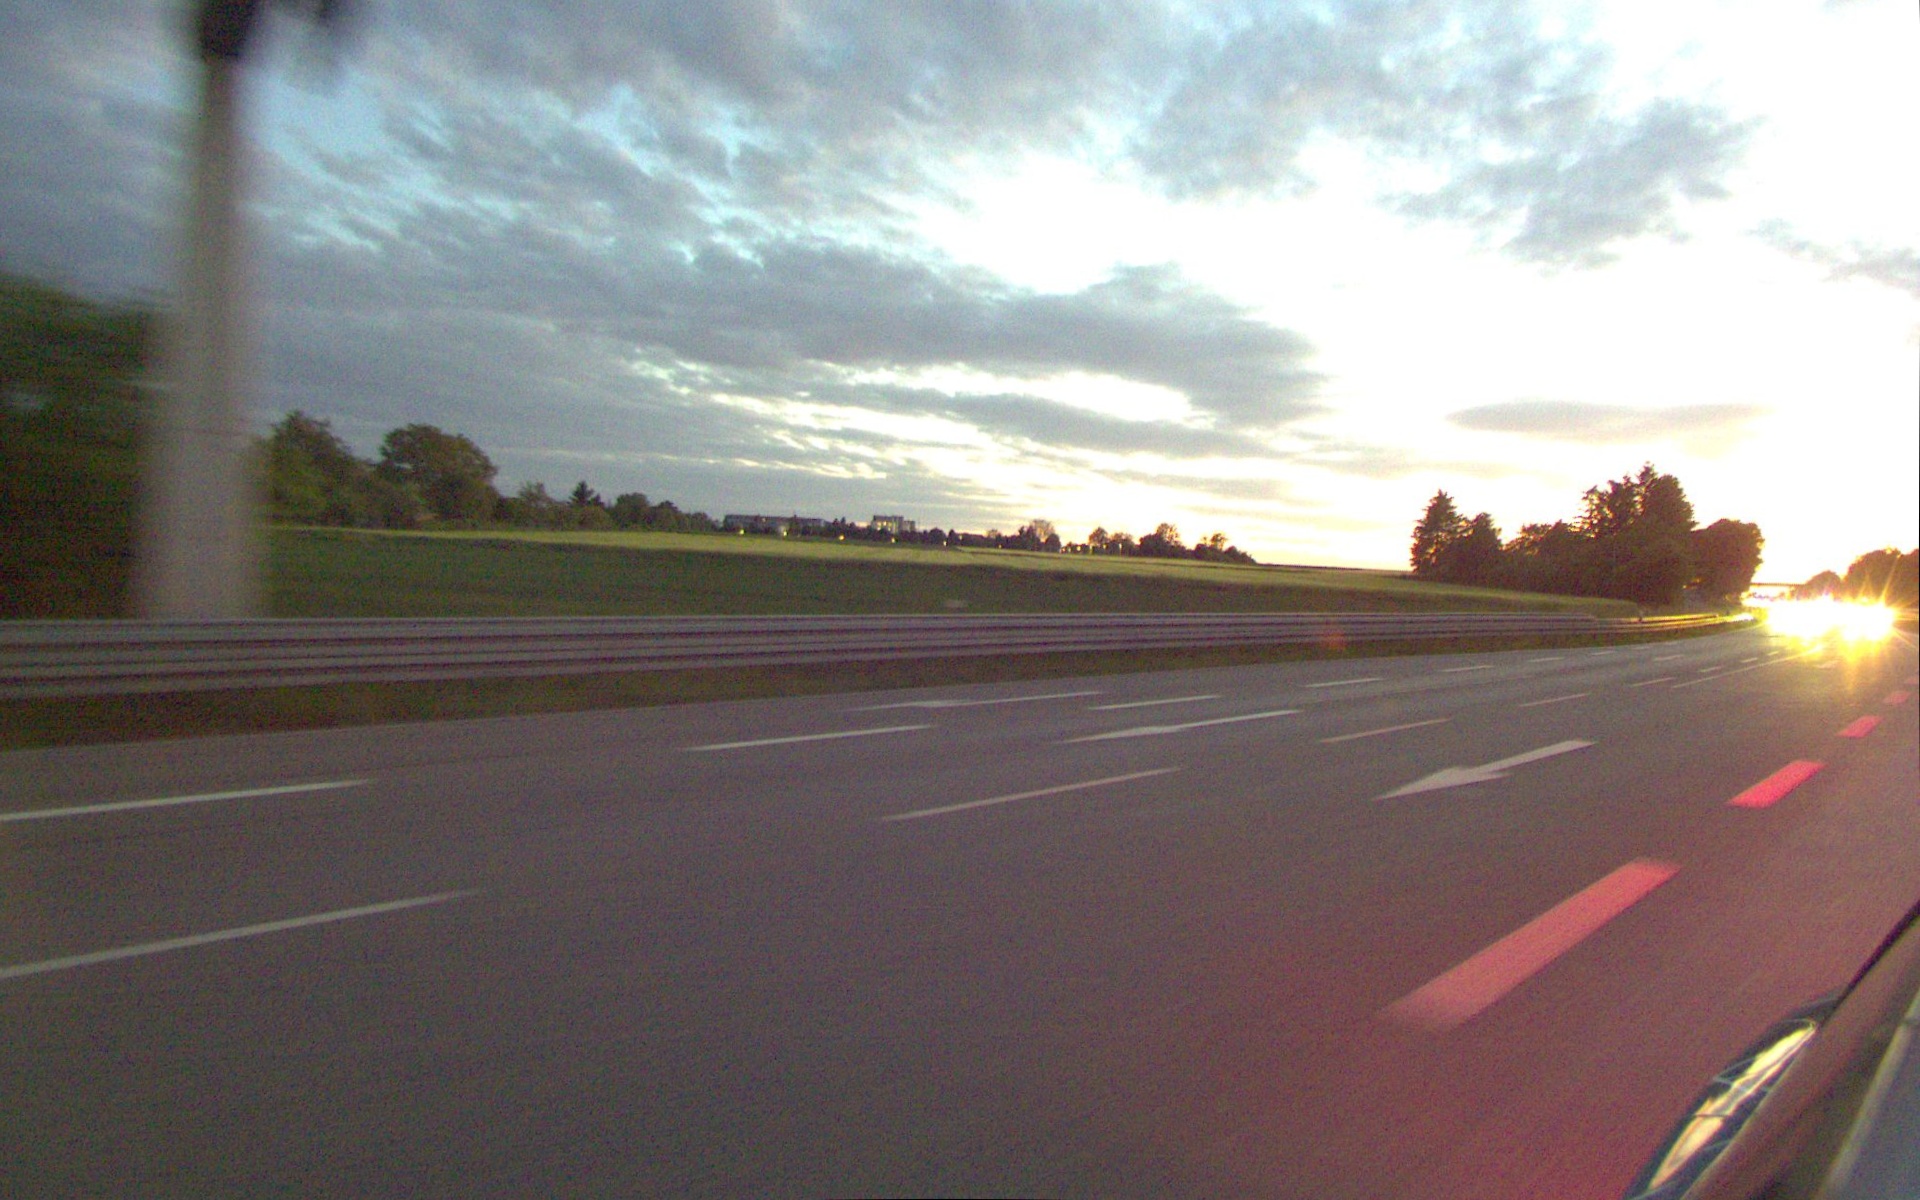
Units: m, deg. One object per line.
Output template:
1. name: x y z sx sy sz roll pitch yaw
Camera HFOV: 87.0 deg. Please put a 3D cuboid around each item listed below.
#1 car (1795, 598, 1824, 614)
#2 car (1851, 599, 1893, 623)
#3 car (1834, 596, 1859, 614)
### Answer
1. car: 88.383 0.581 105.304 3.934 1.604 1.995 0 0 -45
2. car: 58.438 0.671 64.893 1.749 1.474 3.749 1 0 39
3. car: 100.889 0.545 115.194 3.935 2.039 1.858 0 0 -45
